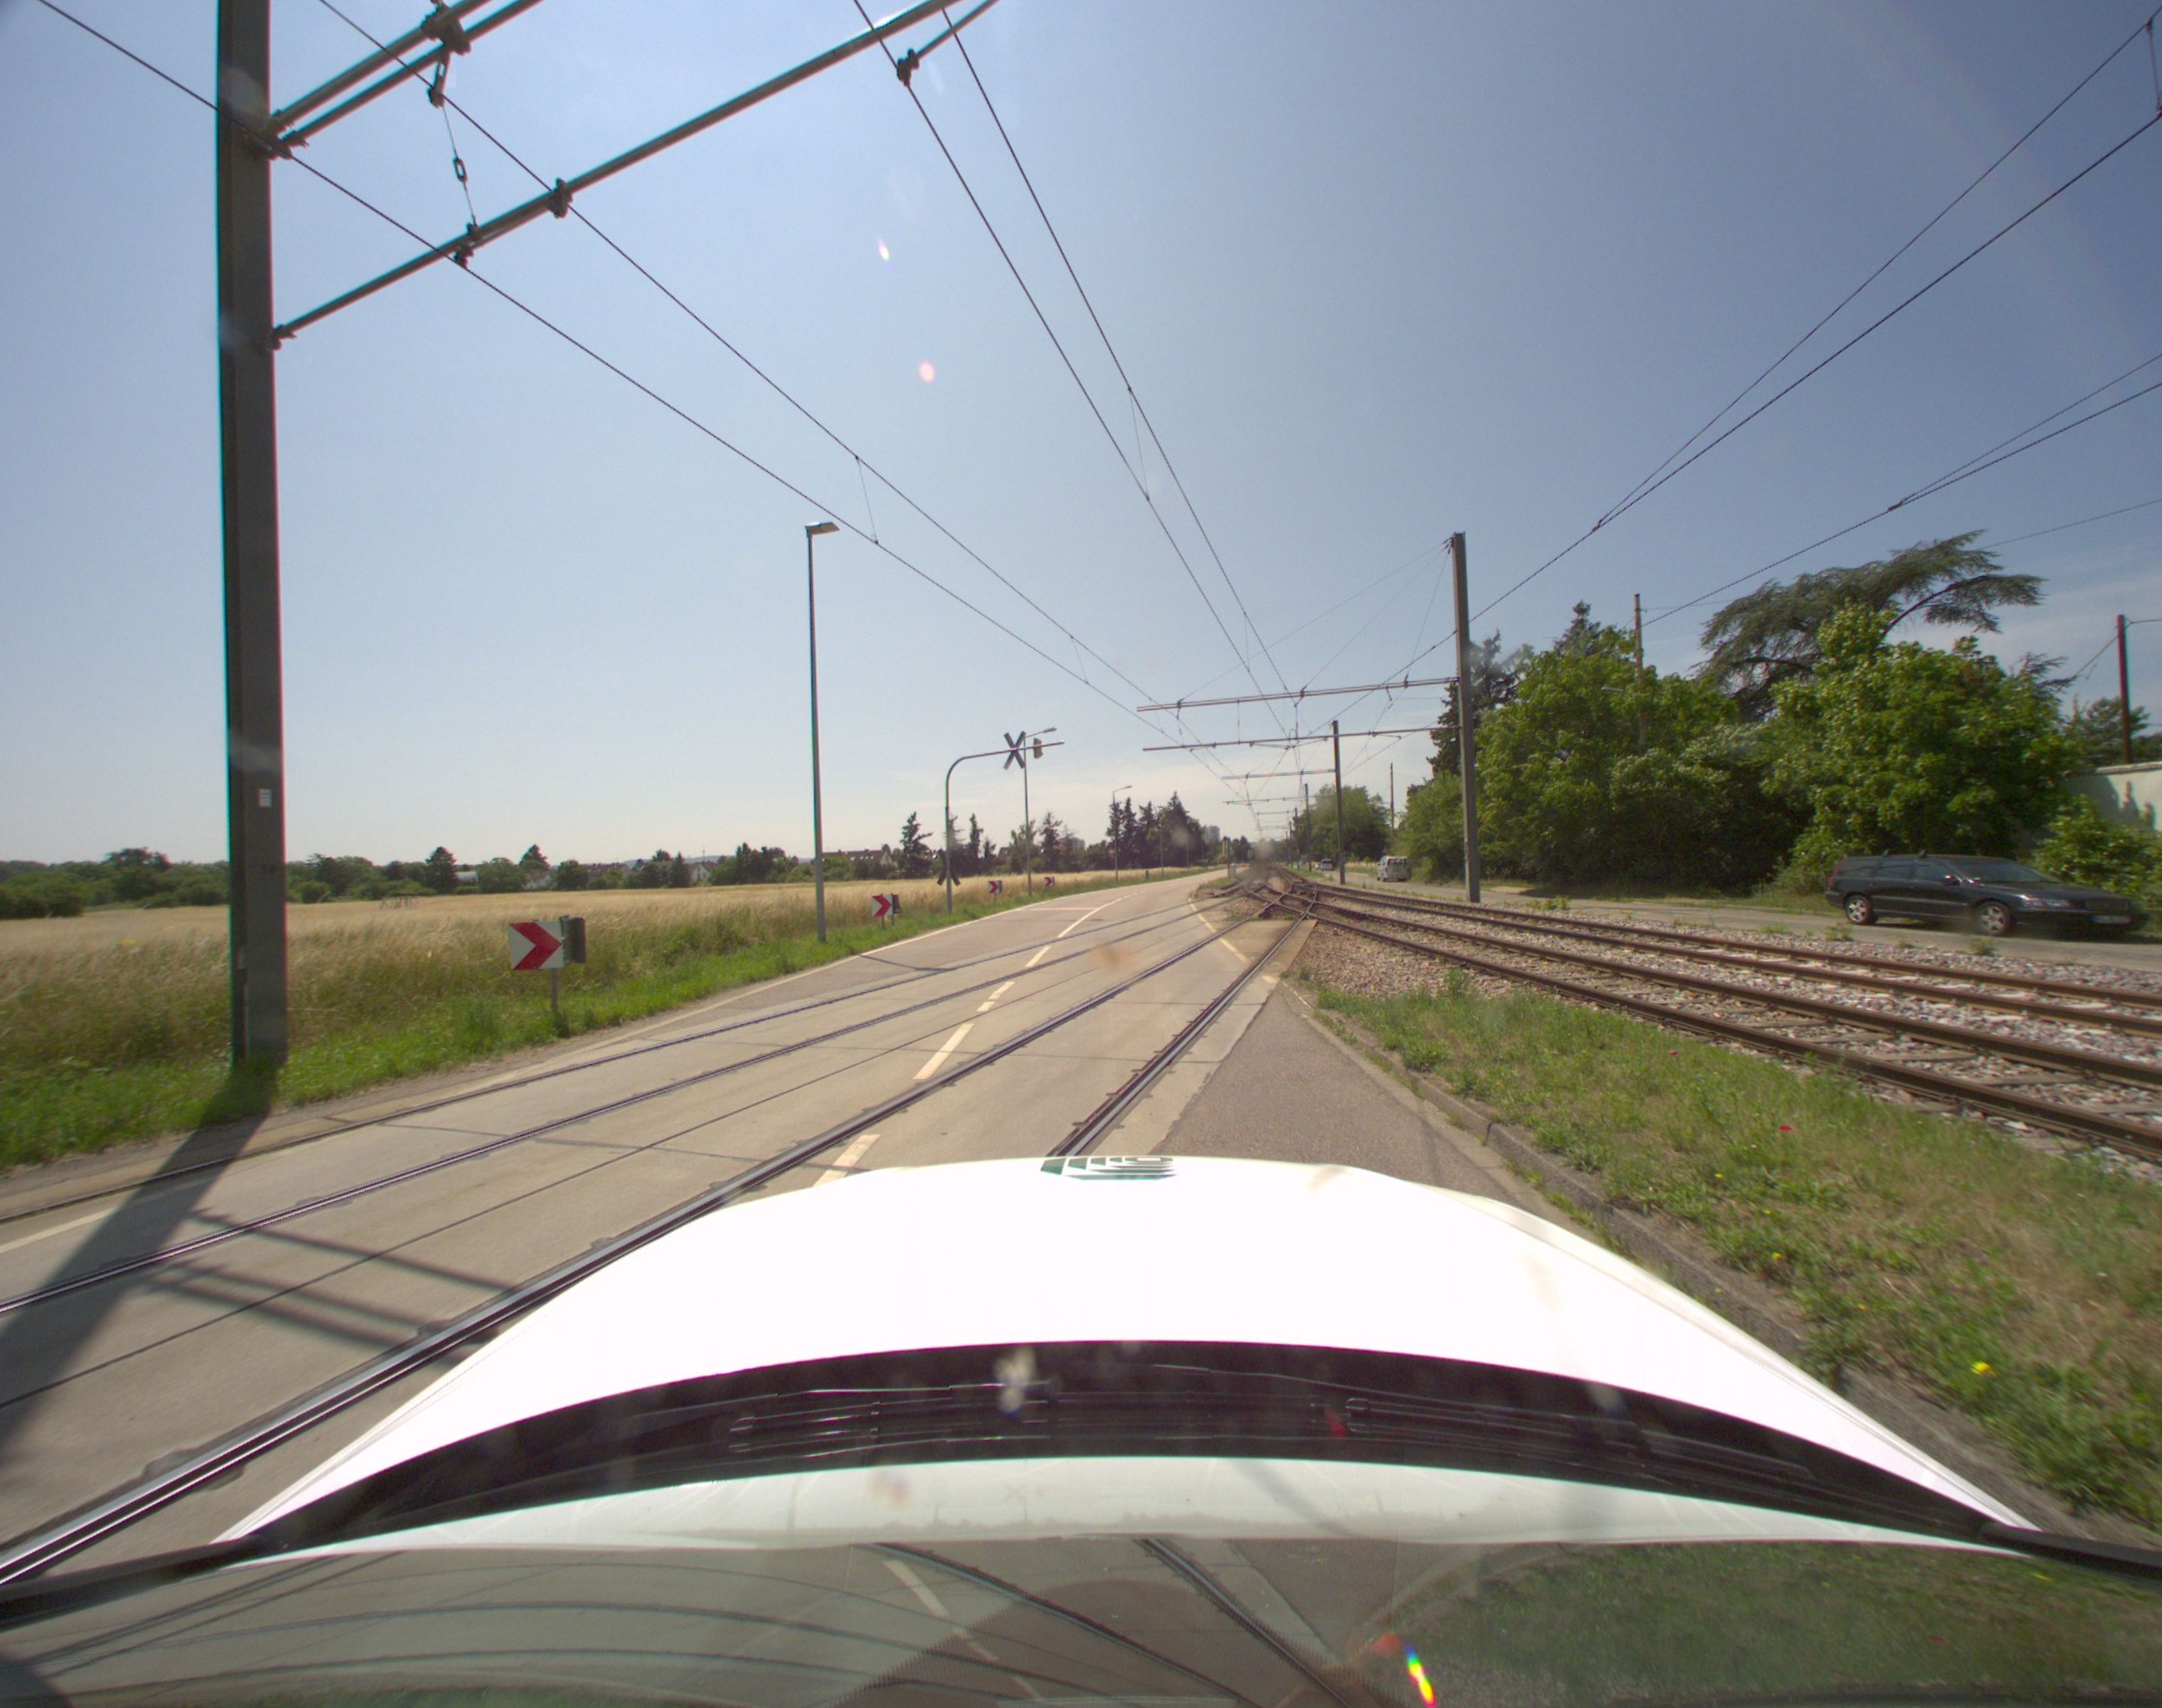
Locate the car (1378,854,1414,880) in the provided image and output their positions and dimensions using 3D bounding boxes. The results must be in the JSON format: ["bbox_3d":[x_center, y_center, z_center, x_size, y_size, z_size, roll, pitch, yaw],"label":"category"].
[{"bbox_3d":[24.320,1.014,63.053,2.021,1.882,5.088,-3,-2,15],"label":"car"}]

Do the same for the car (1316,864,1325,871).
[{"bbox_3d":[46.605,2.603,158.637,1.418,1.308,3.477,-3,-2,13],"label":"car"}]

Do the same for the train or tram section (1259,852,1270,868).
[{"bbox_3d":[45.624,1.623,202.501,2.412,3.766,11.598,-3,-2,13],"label":"train or tram section"}]

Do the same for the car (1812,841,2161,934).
[{"bbox_3d":[16.724,0.615,15.421,1.788,1.426,4.747,-3,-2,5],"label":"car"}]

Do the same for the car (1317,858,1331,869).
[{"bbox_3d":[41.671,1.613,139.627,1.980,1.802,4.811,-3,-2,13],"label":"car"}]

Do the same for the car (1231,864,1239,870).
[{"bbox_3d":[43.935,3.790,232.226,1.821,1.467,4.694,-3,-2,13],"label":"car"}]
